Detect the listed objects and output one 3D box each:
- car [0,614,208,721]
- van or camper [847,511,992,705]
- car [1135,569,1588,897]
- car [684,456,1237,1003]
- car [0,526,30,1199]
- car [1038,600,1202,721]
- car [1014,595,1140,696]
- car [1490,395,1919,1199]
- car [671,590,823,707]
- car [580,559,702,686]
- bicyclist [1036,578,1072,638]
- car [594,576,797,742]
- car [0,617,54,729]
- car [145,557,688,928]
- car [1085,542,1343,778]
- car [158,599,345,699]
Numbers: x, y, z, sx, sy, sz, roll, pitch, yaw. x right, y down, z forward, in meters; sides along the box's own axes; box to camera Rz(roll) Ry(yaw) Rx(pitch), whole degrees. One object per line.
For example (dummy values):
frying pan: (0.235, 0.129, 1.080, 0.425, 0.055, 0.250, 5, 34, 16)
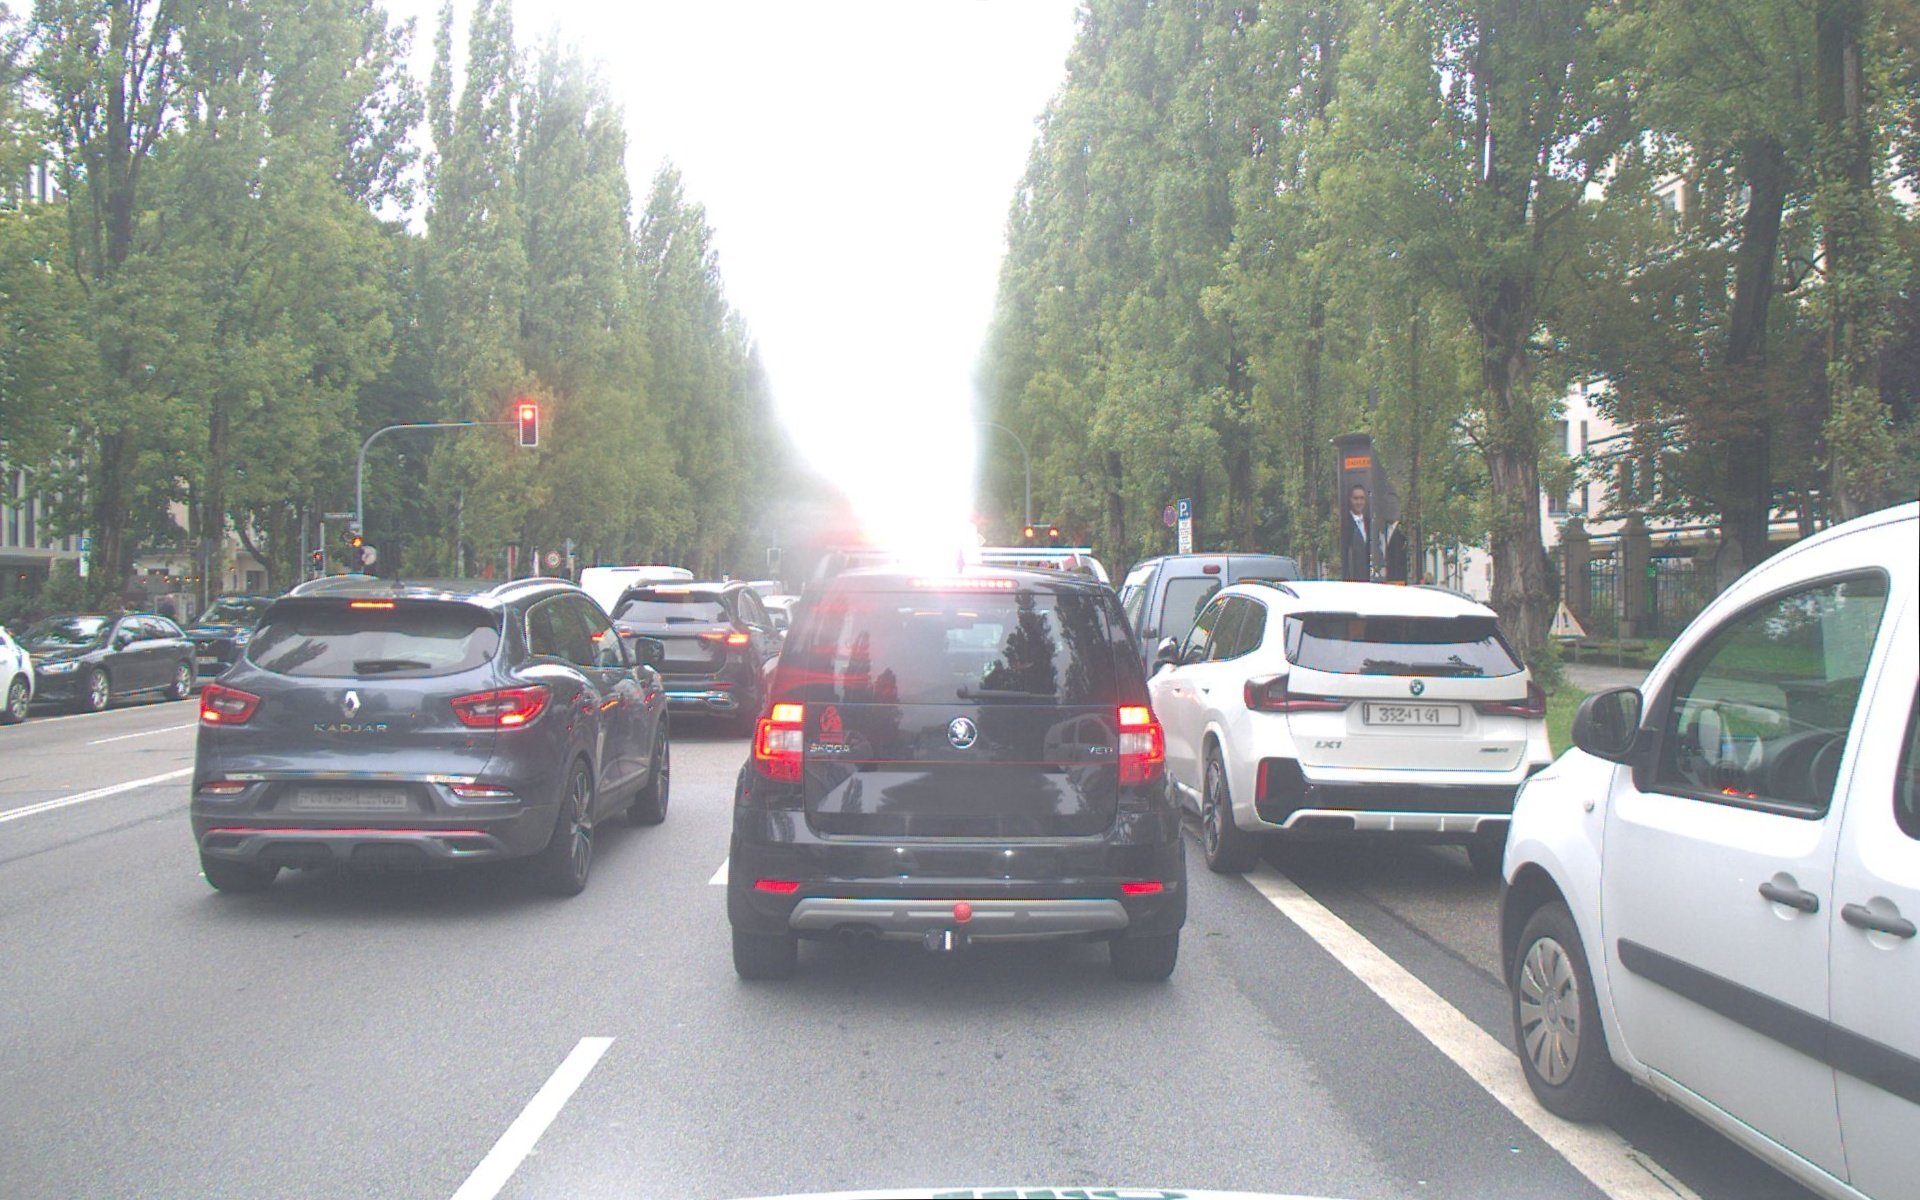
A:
car: (-13.392, 0.993, 25.808, 1.591, 1.413, 4.163, -3, 0, -4)
van or camper: (-0.655, 0.088, 24.313, 1.936, 2.593, 4.022, -1, 0, -3)
car: (2.242, 0.647, 10.397, 1.706, 1.620, 4.210, -1, 0, -2)
car: (-0.043, 0.434, 7.567, 1.818, 1.801, 3.999, 1, 0, -2)
car: (-2.709, 0.666, 1.112, 1.866, 1.551, 4.009, -1, 0, 0)
car: (2.019, 0.733, 21.741, 1.700, 1.411, 3.561, -1, 0, -2)
car: (1.845, 0.691, 27.039, 1.700, 1.501, 3.561, -1, 0, -2)
car: (2.721, 0.559, 3.335, 1.814, 1.914, 4.166, -1, 0, -3)
car: (-3.158, 0.664, 25.231, 1.954, 1.588, 3.998, -1, 1, -3)
car: (-5.818, 0.392, 30.585, 1.746, 2.148, 4.021, -1, 0, -5)
bicyclist: (2.807, 0.241, 49.278, 0.889, 1.752, 0.822, -1, 0, -11)
car: (-2.862, 0.579, 18.667, 1.745, 1.648, 4.023, 1, 0, -2)
car: (-13.102, 0.986, 20.547, 1.591, 1.413, 4.163, -3, 0, -4)
car: (-2.754, 0.629, 9.439, 1.798, 1.613, 4.184, 1, 0, -2)
car: (2.251, 0.474, 15.673, 1.700, 1.928, 4.023, -1, 0, -2)
car: (-13.539, 0.871, 31.922, 1.813, 1.683, 4.692, -3, 0, -4)
